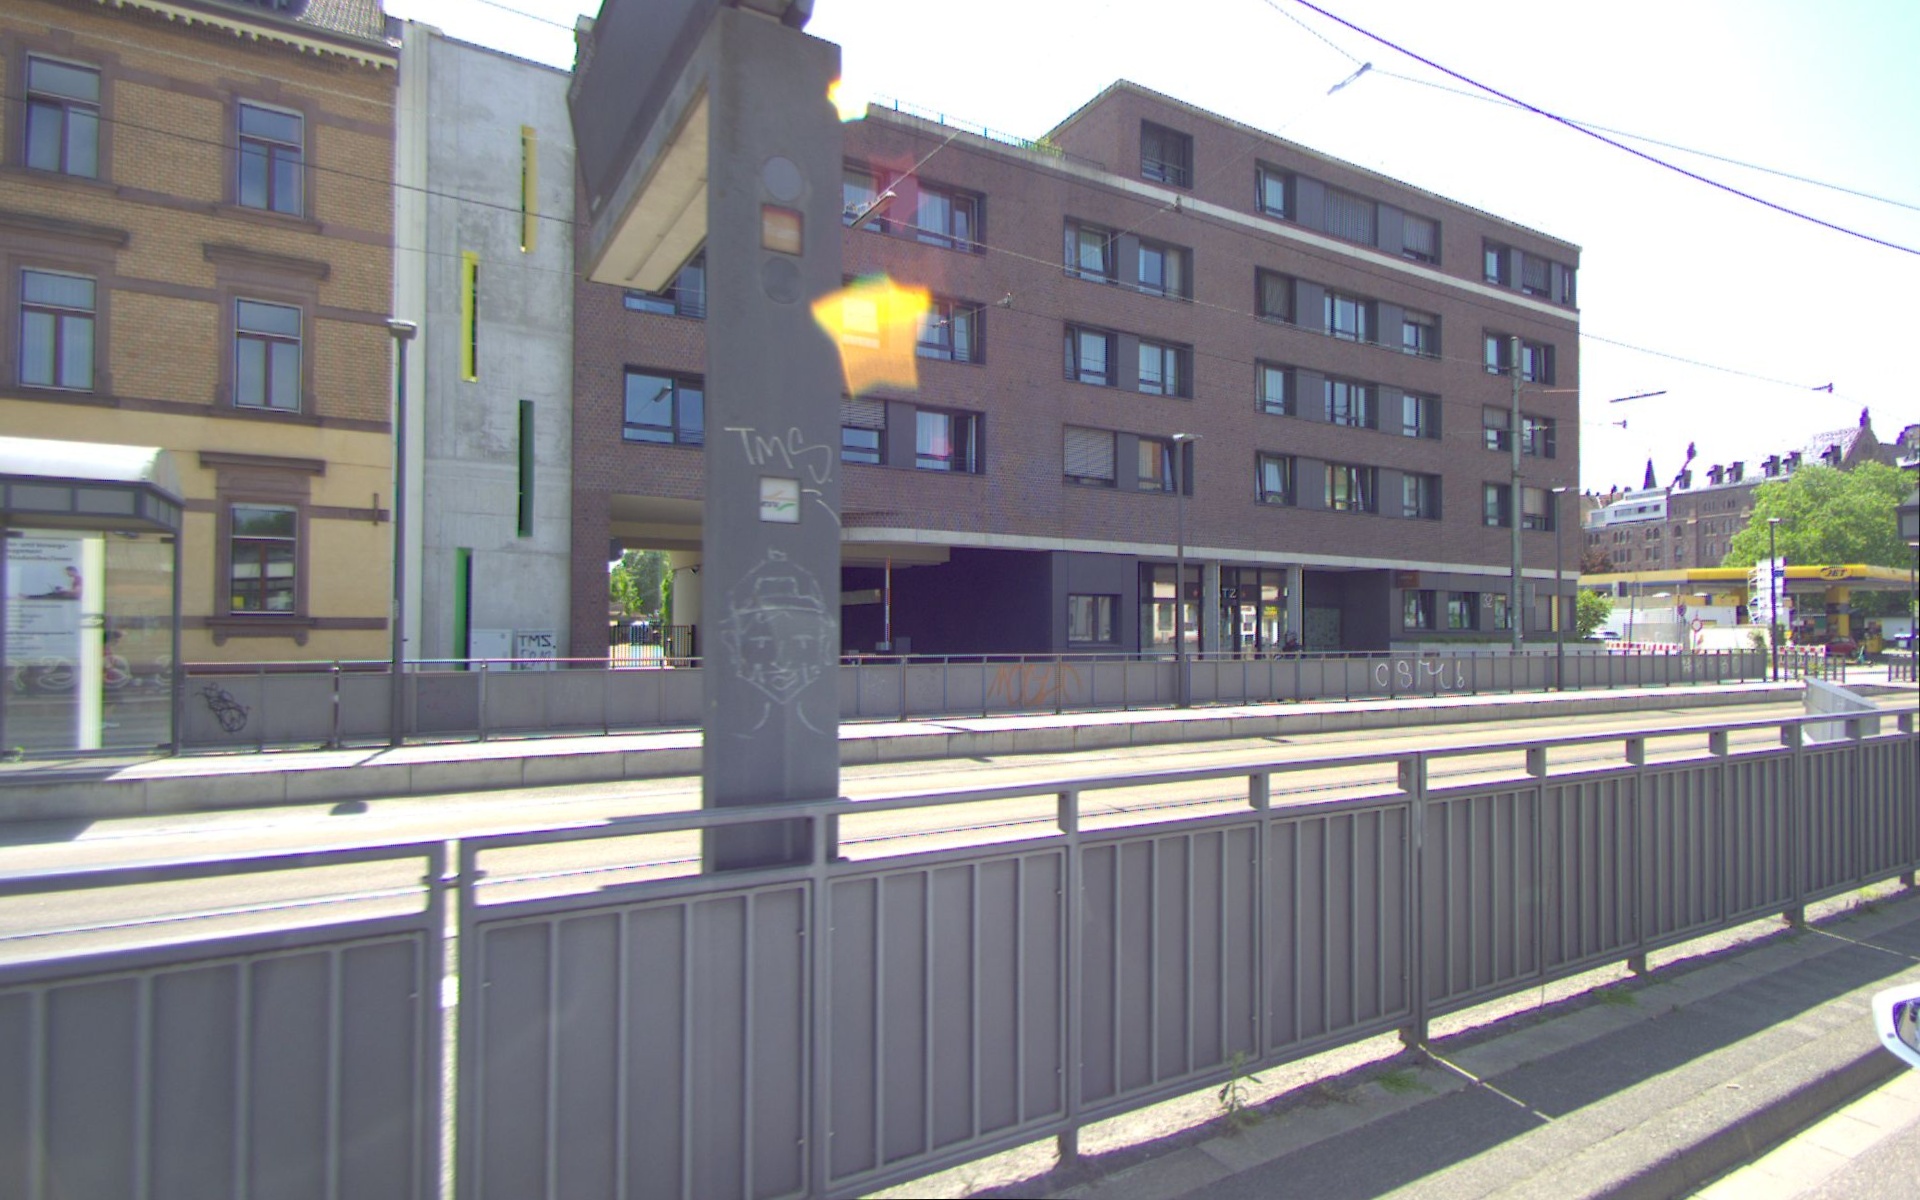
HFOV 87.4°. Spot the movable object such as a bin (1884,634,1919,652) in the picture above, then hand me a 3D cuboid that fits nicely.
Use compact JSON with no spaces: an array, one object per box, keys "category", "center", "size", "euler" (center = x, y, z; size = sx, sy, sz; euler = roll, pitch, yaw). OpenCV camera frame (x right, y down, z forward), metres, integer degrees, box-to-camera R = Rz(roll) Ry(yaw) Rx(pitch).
[{"category":"movable object such as a bin","center":[82.256,3.757,87.607],"size":[2.064,1.451,1.522],"euler":[1,0,-14]}]

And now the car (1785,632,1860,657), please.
[{"category":"car","center":[57.906,2.972,67.426],"size":[4.128,1.525,1.826],"euler":[0,1,-15]}]

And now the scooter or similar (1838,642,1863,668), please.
[{"category":"scooter or similar","center":[46.333,2.859,52.255],"size":[1.220,1.281,0.345],"euler":[1,0,-13]}]

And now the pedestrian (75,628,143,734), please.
[{"category":"pedestrian","center":[-13.371,1.247,15.805],"size":[0.707,1.617,0.600],"euler":[1,-2,-33]}]

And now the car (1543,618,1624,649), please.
[{"category":"car","center":[39.193,2.072,63.266],"size":[1.860,1.769,4.266],"euler":[1,0,-14]}]

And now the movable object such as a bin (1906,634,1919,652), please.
[{"category":"movable object such as a bin","center":[82.548,3.694,85.866],"size":[2.064,1.529,1.522],"euler":[1,0,-14]}]
